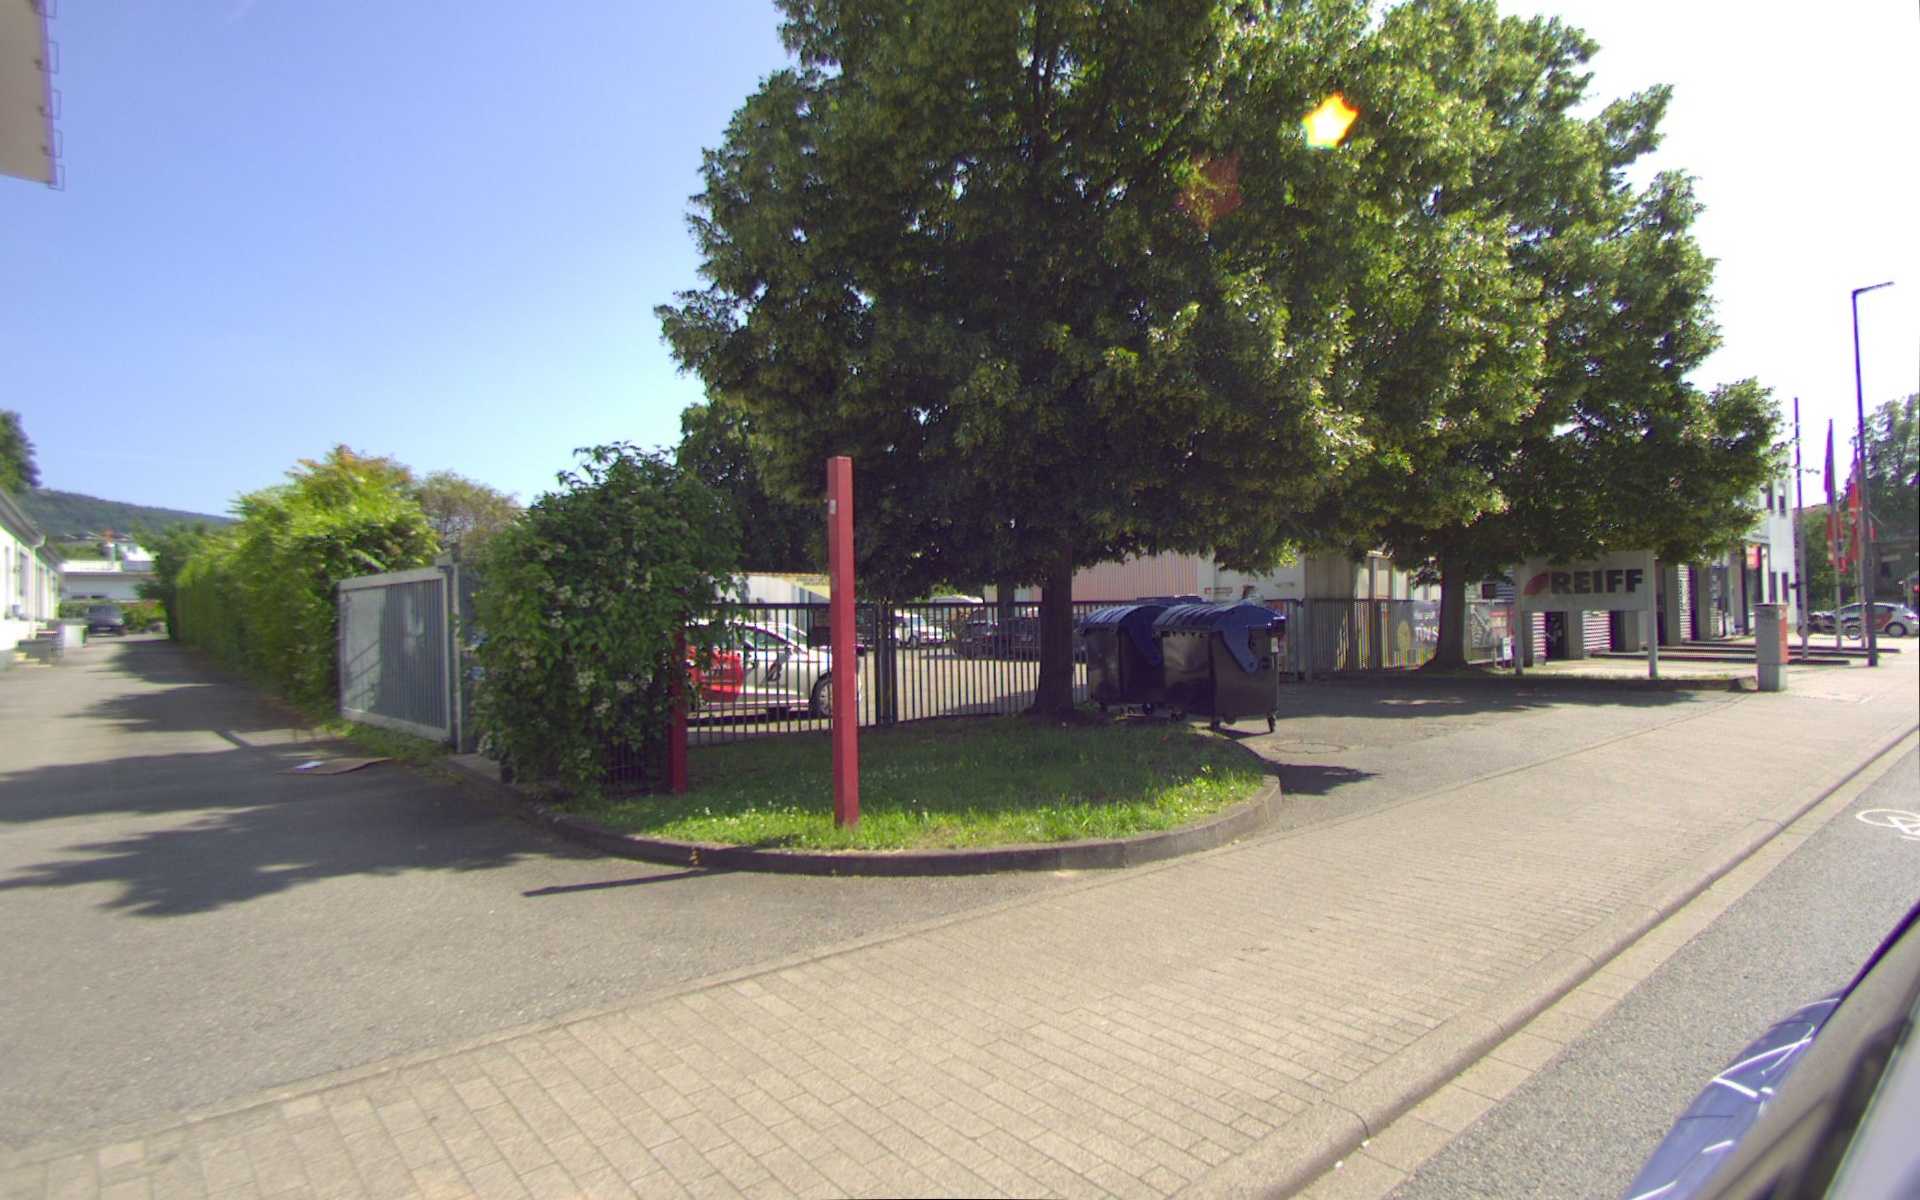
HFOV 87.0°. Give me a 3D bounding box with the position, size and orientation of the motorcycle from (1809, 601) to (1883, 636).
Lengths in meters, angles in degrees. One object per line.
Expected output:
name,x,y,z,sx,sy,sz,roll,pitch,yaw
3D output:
motorcycle,36.181,0.724,41.364,0.719,1.325,2.186,-1,2,-42

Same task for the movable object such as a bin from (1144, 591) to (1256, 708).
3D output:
movable object such as a bin,3.479,0.690,14.660,1.300,1.566,0.978,-2,-1,-45

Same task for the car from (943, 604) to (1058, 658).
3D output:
car,1.497,1.135,36.501,3.929,1.811,1.834,2,-4,-41

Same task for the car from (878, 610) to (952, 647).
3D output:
car,-2.414,1.543,53.506,1.805,1.811,3.991,2,-4,-41

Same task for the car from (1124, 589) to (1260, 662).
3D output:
car,6.761,0.772,29.349,3.929,1.954,1.834,2,-4,-41

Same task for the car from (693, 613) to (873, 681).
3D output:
car,-4.223,1.071,24.516,3.978,1.409,1.719,-1,0,-41

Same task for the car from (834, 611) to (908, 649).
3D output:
car,-4.621,1.591,52.142,1.805,1.811,3.991,2,-4,-41

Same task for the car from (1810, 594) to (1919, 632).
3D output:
car,40.438,0.554,44.874,1.858,1.481,3.993,0,2,-42

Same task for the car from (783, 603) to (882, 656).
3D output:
car,-5.191,1.178,40.818,1.913,2.040,4.383,2,-2,-40

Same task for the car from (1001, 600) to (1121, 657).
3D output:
car,3.457,0.993,34.399,3.929,1.811,1.834,2,-4,-41

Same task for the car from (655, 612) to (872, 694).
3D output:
car,-4.030,1.032,21.163,4.160,1.478,1.746,-1,0,-41

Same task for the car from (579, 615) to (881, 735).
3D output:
car,-3.248,0.978,14.676,3.930,1.478,1.746,0,-2,-41

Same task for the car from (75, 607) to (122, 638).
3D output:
car,-47.929,1.253,56.268,1.755,1.661,3.990,2,-2,-43

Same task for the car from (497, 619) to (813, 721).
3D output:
car,-4.940,1.047,16.816,4.685,1.396,1.891,0,-1,-41

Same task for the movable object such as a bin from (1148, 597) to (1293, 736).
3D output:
movable object such as a bin,2.953,0.722,11.626,0.970,1.448,1.391,-2,-1,-16

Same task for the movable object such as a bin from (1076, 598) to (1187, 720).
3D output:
movable object such as a bin,2.202,0.734,13.157,0.866,1.448,1.323,-2,-1,-16
